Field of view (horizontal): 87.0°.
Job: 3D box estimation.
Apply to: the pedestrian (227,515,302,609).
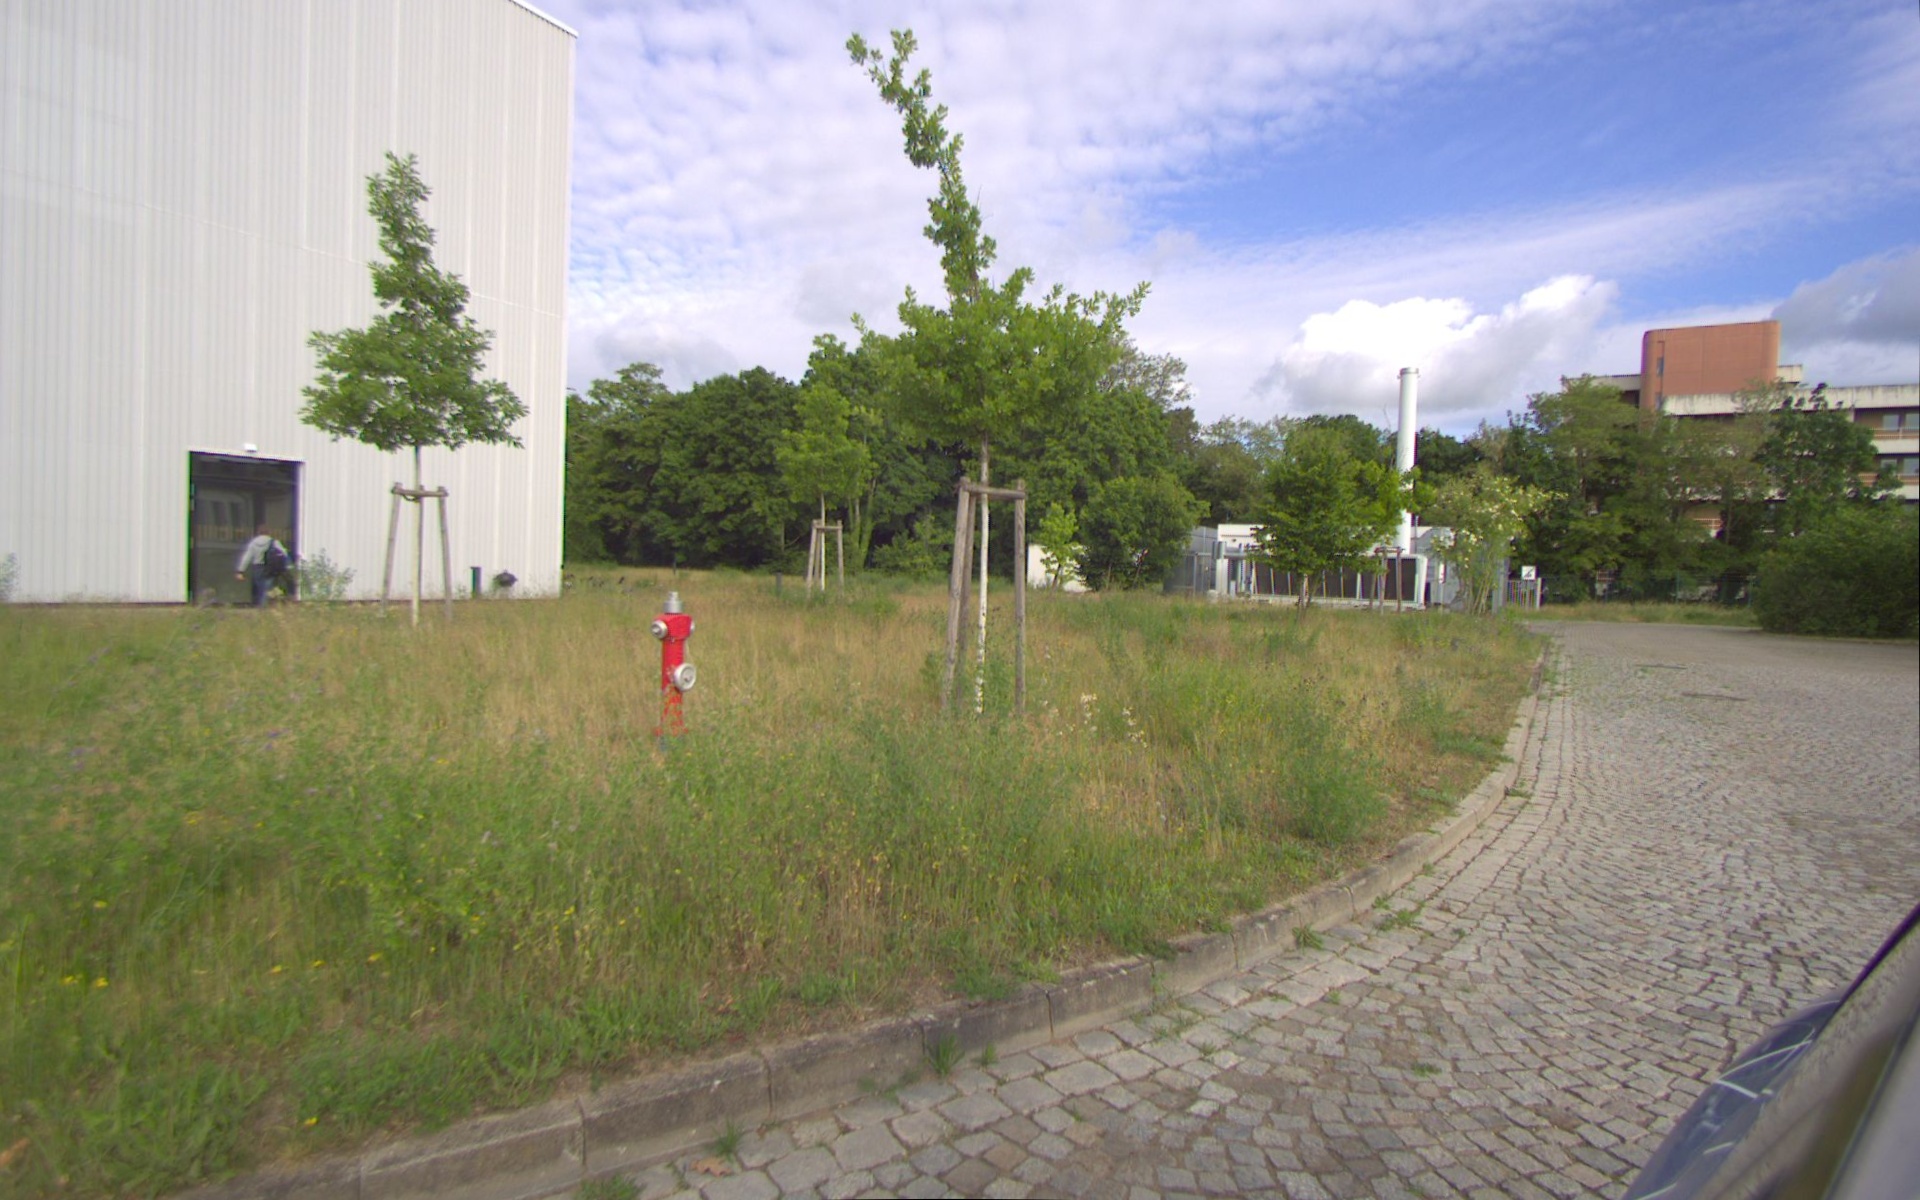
[{"bbox_3d":[-12.250,-0.668,17.860,1.054,1.575,1.080,1,2,-34],"label":"pedestrian"}]
